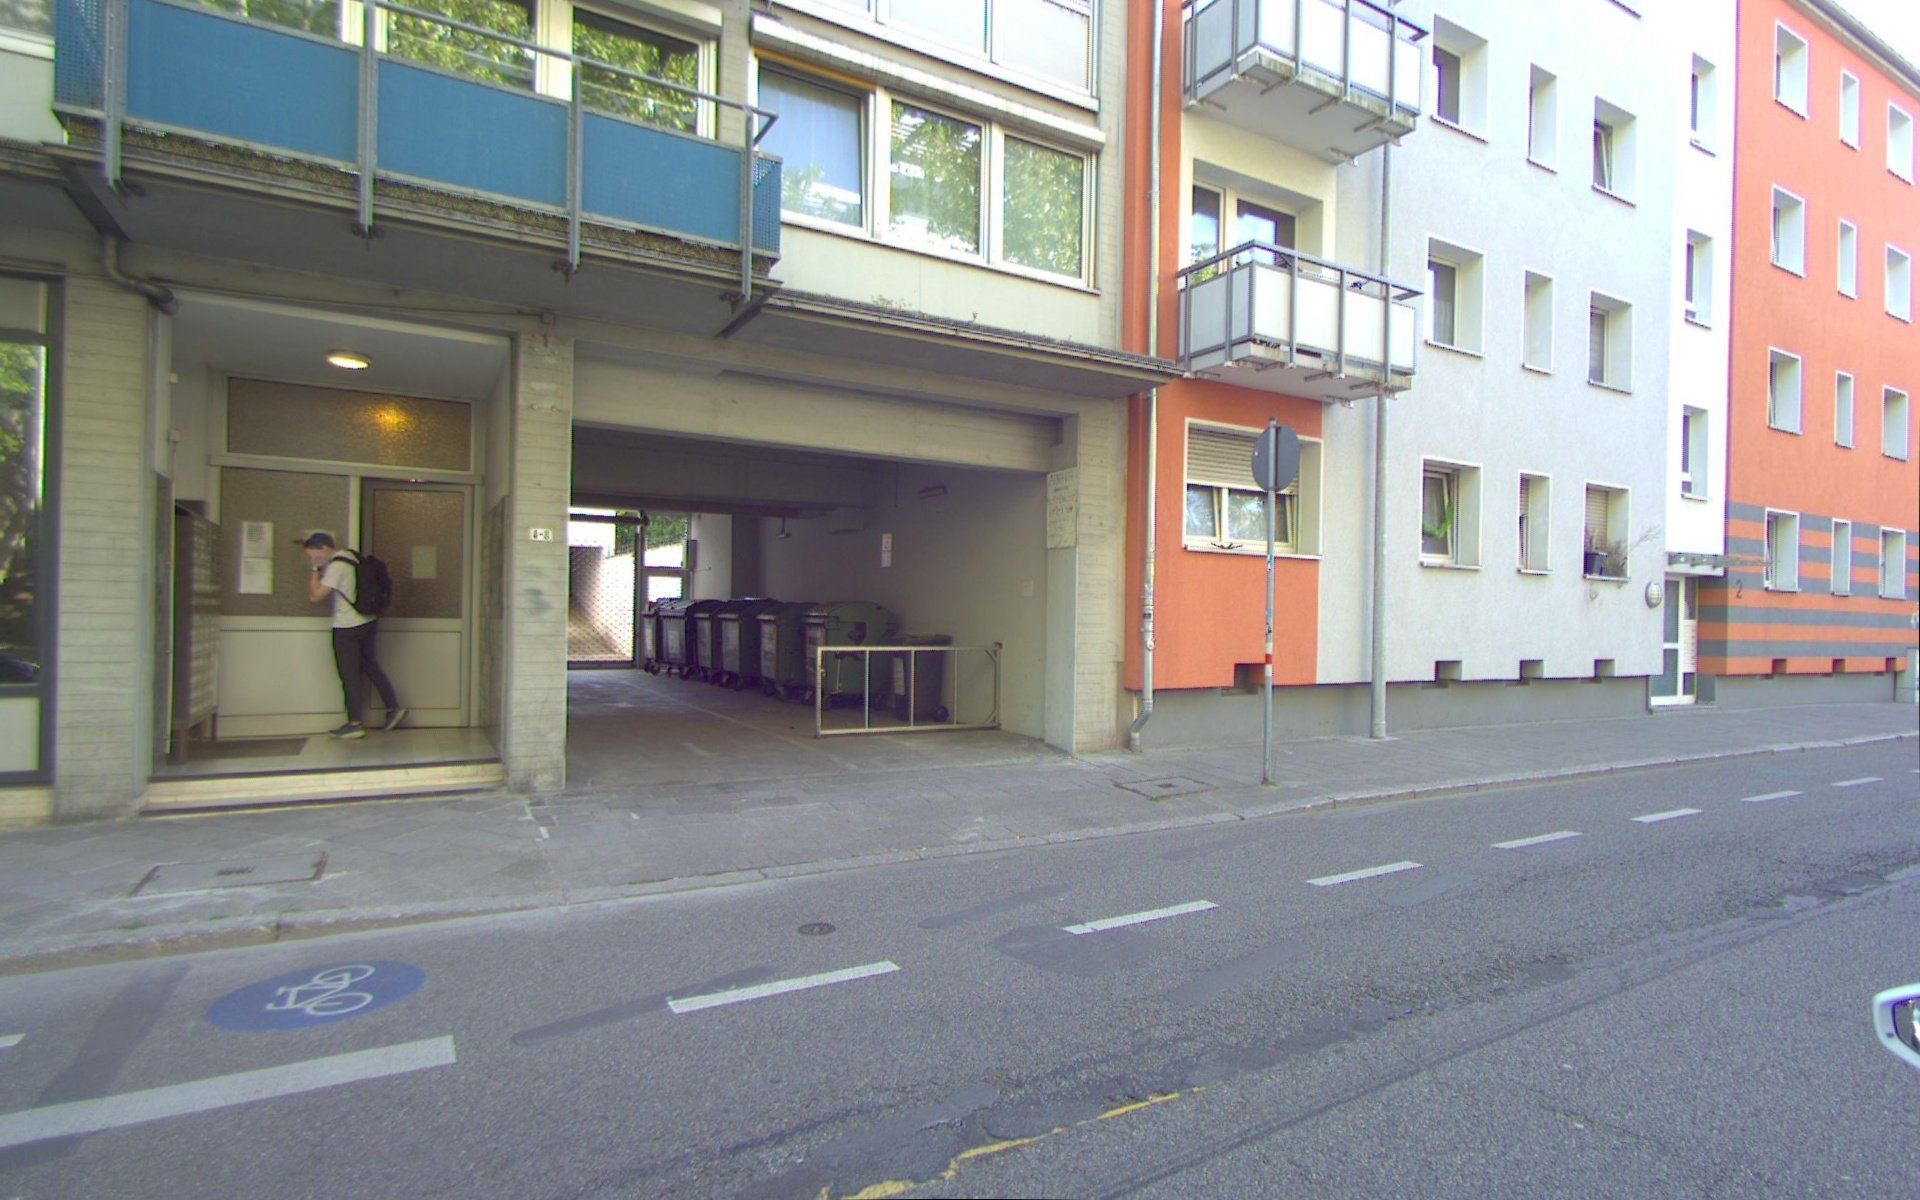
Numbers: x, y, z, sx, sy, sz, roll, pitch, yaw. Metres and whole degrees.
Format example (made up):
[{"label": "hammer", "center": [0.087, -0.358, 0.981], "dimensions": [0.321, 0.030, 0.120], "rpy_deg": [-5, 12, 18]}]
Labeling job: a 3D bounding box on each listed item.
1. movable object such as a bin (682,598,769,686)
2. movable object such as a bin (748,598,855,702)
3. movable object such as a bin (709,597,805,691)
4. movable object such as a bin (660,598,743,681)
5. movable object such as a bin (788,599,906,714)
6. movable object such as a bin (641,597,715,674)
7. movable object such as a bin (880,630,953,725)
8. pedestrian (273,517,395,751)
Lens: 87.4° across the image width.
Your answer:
[{"label": "movable object such as a bin", "center": [-4.141, 0.726, 17.710], "dimensions": [1.186, 1.467, 1.114], "rpy_deg": [2, 0, -30]}, {"label": "movable object such as a bin", "center": [-2.403, 0.727, 15.135], "dimensions": [1.186, 1.467, 1.319], "rpy_deg": [2, 0, -30]}, {"label": "movable object such as a bin", "center": [-3.370, 0.705, 16.619], "dimensions": [1.186, 1.467, 1.319], "rpy_deg": [2, 0, -30]}, {"label": "movable object such as a bin", "center": [-4.840, 0.728, 18.752], "dimensions": [1.186, 1.467, 1.222], "rpy_deg": [2, 0, -30]}, {"label": "movable object such as a bin", "center": [-1.563, 0.746, 13.801], "dimensions": [1.159, 1.467, 1.319], "rpy_deg": [2, 0, -30]}, {"label": "movable object such as a bin", "center": [-5.616, 0.692, 19.981], "dimensions": [1.186, 1.467, 1.027], "rpy_deg": [2, 0, -30]}, {"label": "movable object such as a bin", "center": [-0.535, 0.946, 12.410], "dimensions": [0.745, 1.116, 0.463], "rpy_deg": [2, 0, -30]}, {"label": "pedestrian", "center": [-5.325, 0.287, 8.586], "dimensions": [0.776, 1.904, 0.578], "rpy_deg": [2, 0, -25]}]
